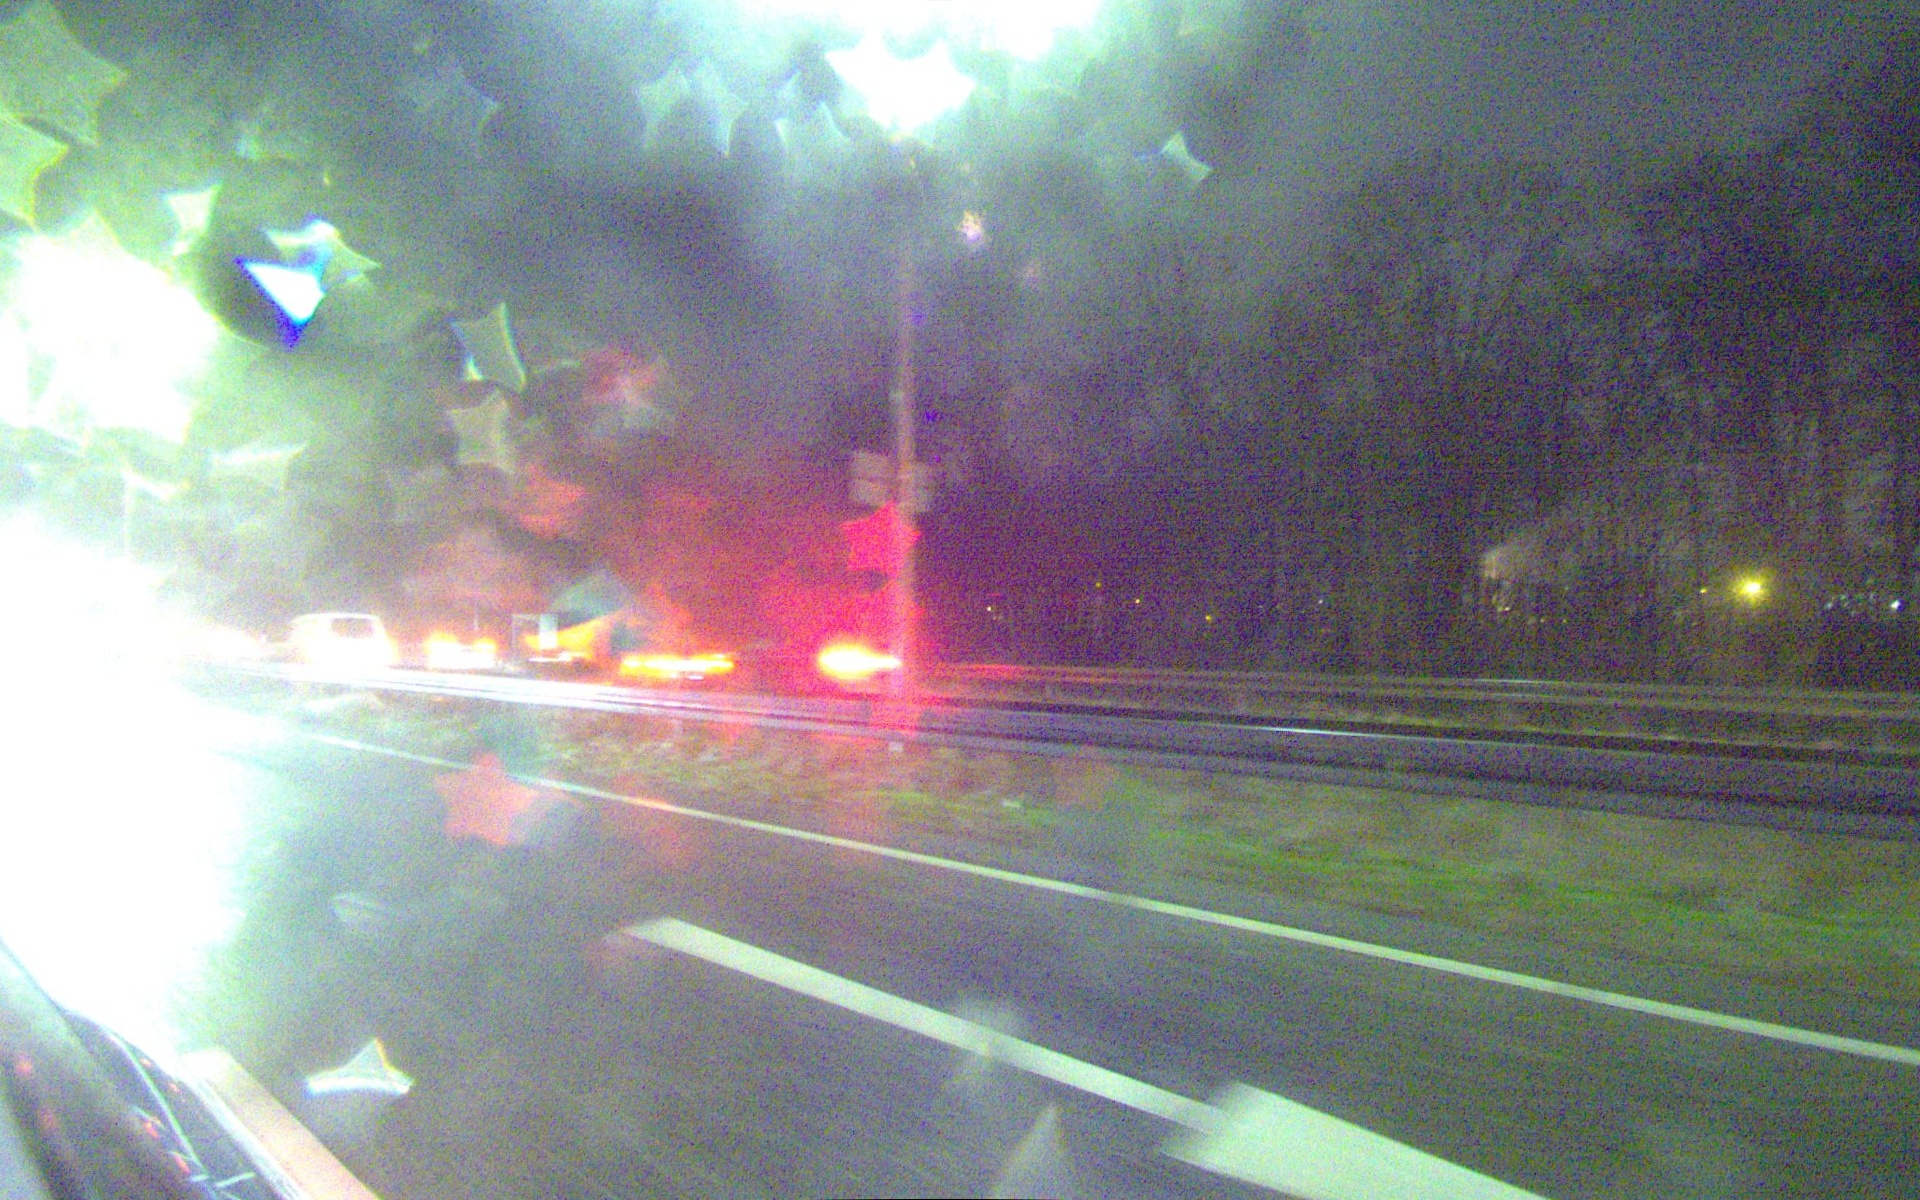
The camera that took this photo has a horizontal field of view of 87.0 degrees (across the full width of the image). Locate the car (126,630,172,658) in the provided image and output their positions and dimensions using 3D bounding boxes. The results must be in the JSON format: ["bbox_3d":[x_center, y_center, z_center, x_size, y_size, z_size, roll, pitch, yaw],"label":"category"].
[{"bbox_3d":[-51.682,2.780,64.458,3.832,1.563,1.584,0,1,41],"label":"car"}]

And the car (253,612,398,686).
[{"bbox_3d":[-17.593,1.277,27.982,4.700,1.787,1.974,0,1,39],"label":"car"}]

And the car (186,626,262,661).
[{"bbox_3d":[-37.282,2.165,51.224,4.893,1.513,2.003,0,1,40],"label":"car"}]

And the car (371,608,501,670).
[{"bbox_3d":[-16.812,1.180,32.393,4.700,1.787,1.974,0,1,39],"label":"car"}]

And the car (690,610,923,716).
[{"bbox_3d":[-3.170,1.151,20.322,4.700,1.787,1.974,0,1,39],"label":"car"}]

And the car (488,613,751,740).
[{"bbox_3d":[-5.991,1.182,17.542,4.700,1.787,2.144,0,1,39],"label":"car"}]
